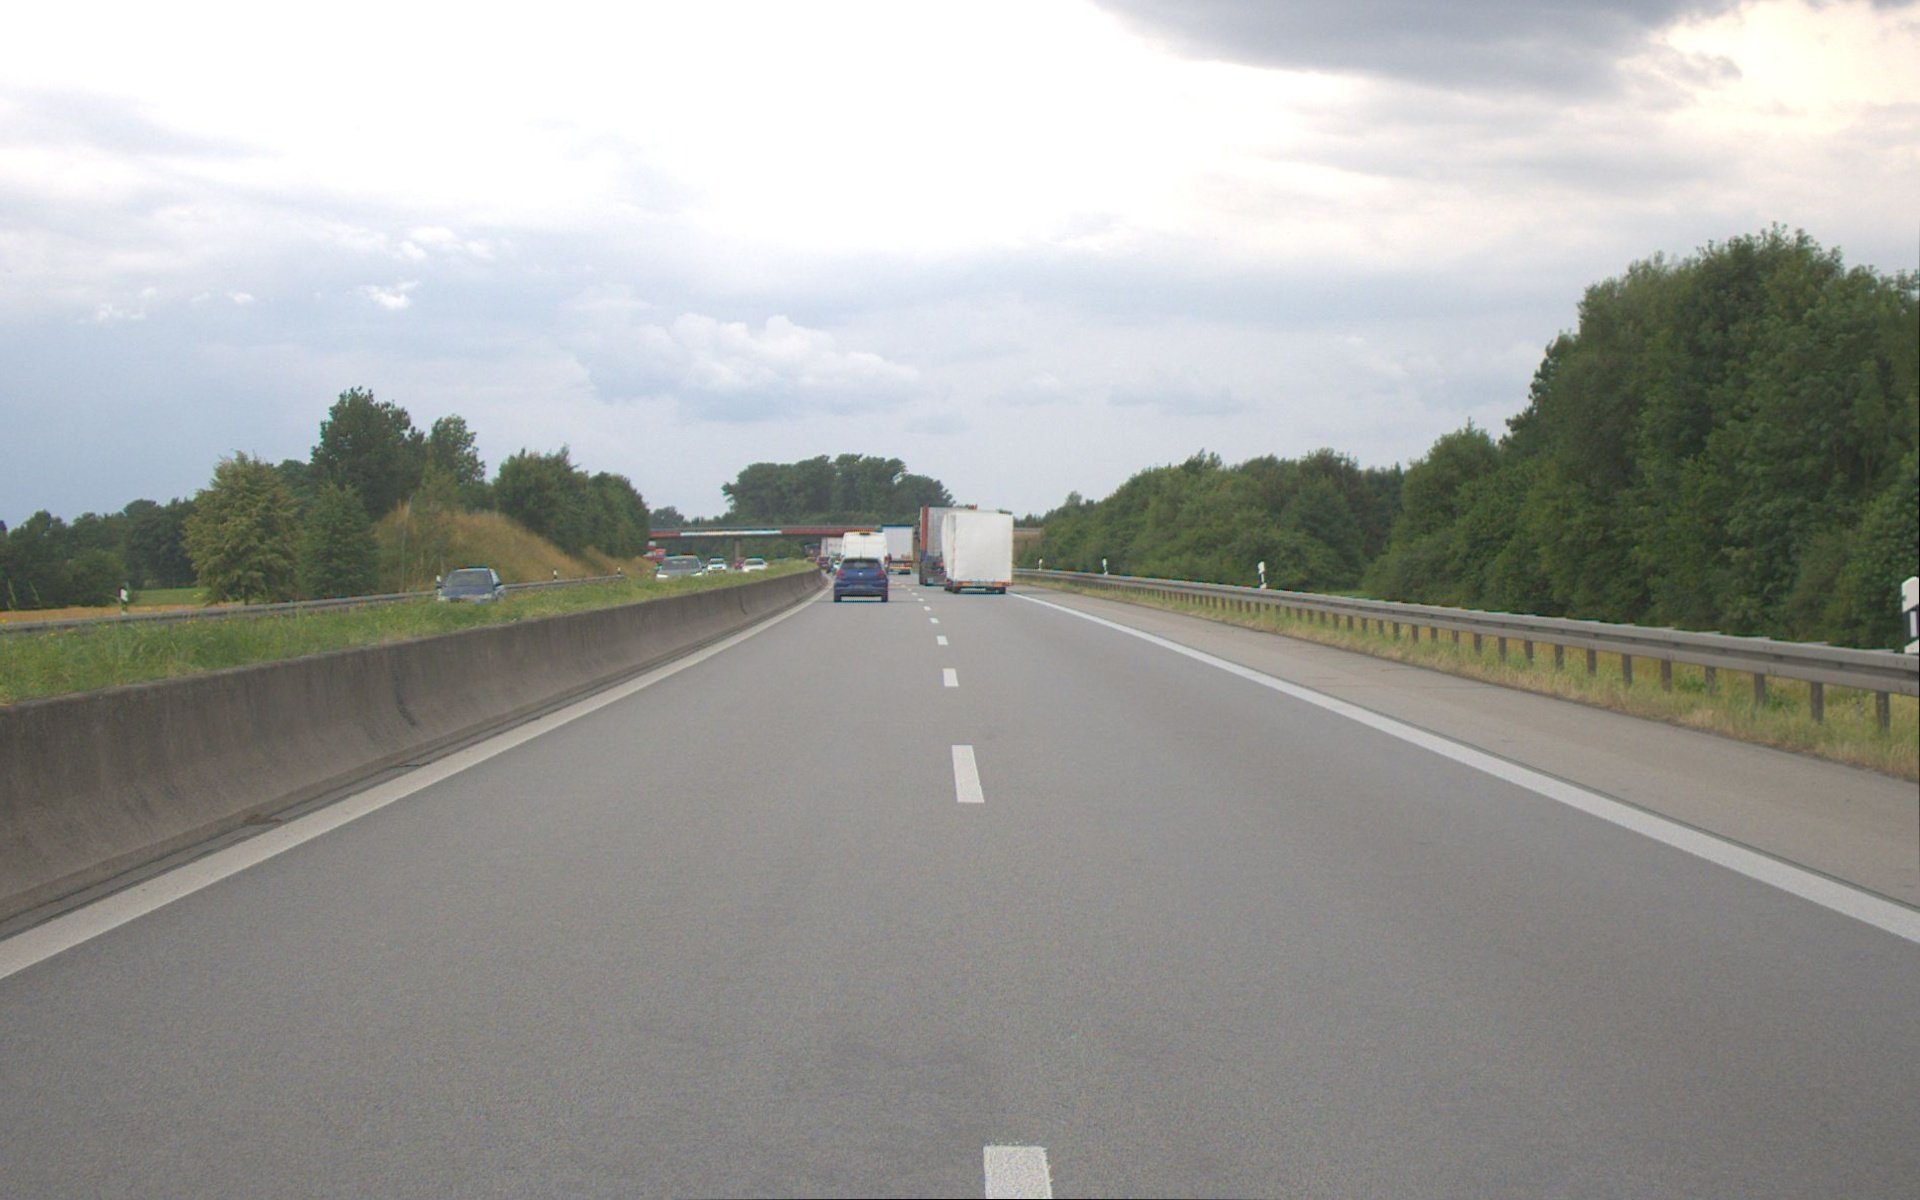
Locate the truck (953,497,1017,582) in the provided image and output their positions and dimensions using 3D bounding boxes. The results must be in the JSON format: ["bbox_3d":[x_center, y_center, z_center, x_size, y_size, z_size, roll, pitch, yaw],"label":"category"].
[{"bbox_3d":[0.932,-2.303,133.304,2.415,3.211,7.144,0,0,0],"label":"truck"}]

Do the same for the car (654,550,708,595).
[{"bbox_3d":[-11.051,-1.110,136.511,1.841,1.688,4.358,-2,1,-2],"label":"car"}]

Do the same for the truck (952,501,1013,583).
[{"bbox_3d":[0.886,-2.348,140.500,2.429,3.232,7.247,0,0,0],"label":"truck"}]

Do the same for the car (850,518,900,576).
[{"bbox_3d":[-3.700,-2.296,150.274,2.130,2.474,5.840,-1,1,-1],"label":"car"}]

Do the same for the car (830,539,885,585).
[{"bbox_3d":[-3.250,-1.208,108.409,1.663,1.402,3.649,0,1,-3],"label":"car"}]

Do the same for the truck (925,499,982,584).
[{"bbox_3d":[-0.306,-2.899,170.183,2.673,4.032,11.108,-1,1,0],"label":"truck"}]

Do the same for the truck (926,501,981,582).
[{"bbox_3d":[-0.322,-3.004,175.546,2.673,4.032,5.512,-1,1,0],"label":"truck"}]

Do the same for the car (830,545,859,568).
[{"bbox_3d":[-8.637,-3.254,256.803,1.993,1.678,4.001,0,1,-5],"label":"car"}]

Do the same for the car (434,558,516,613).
[{"bbox_3d":[-13.927,-0.437,98.898,1.746,1.482,4.530,-2,1,-1],"label":"car"}]
